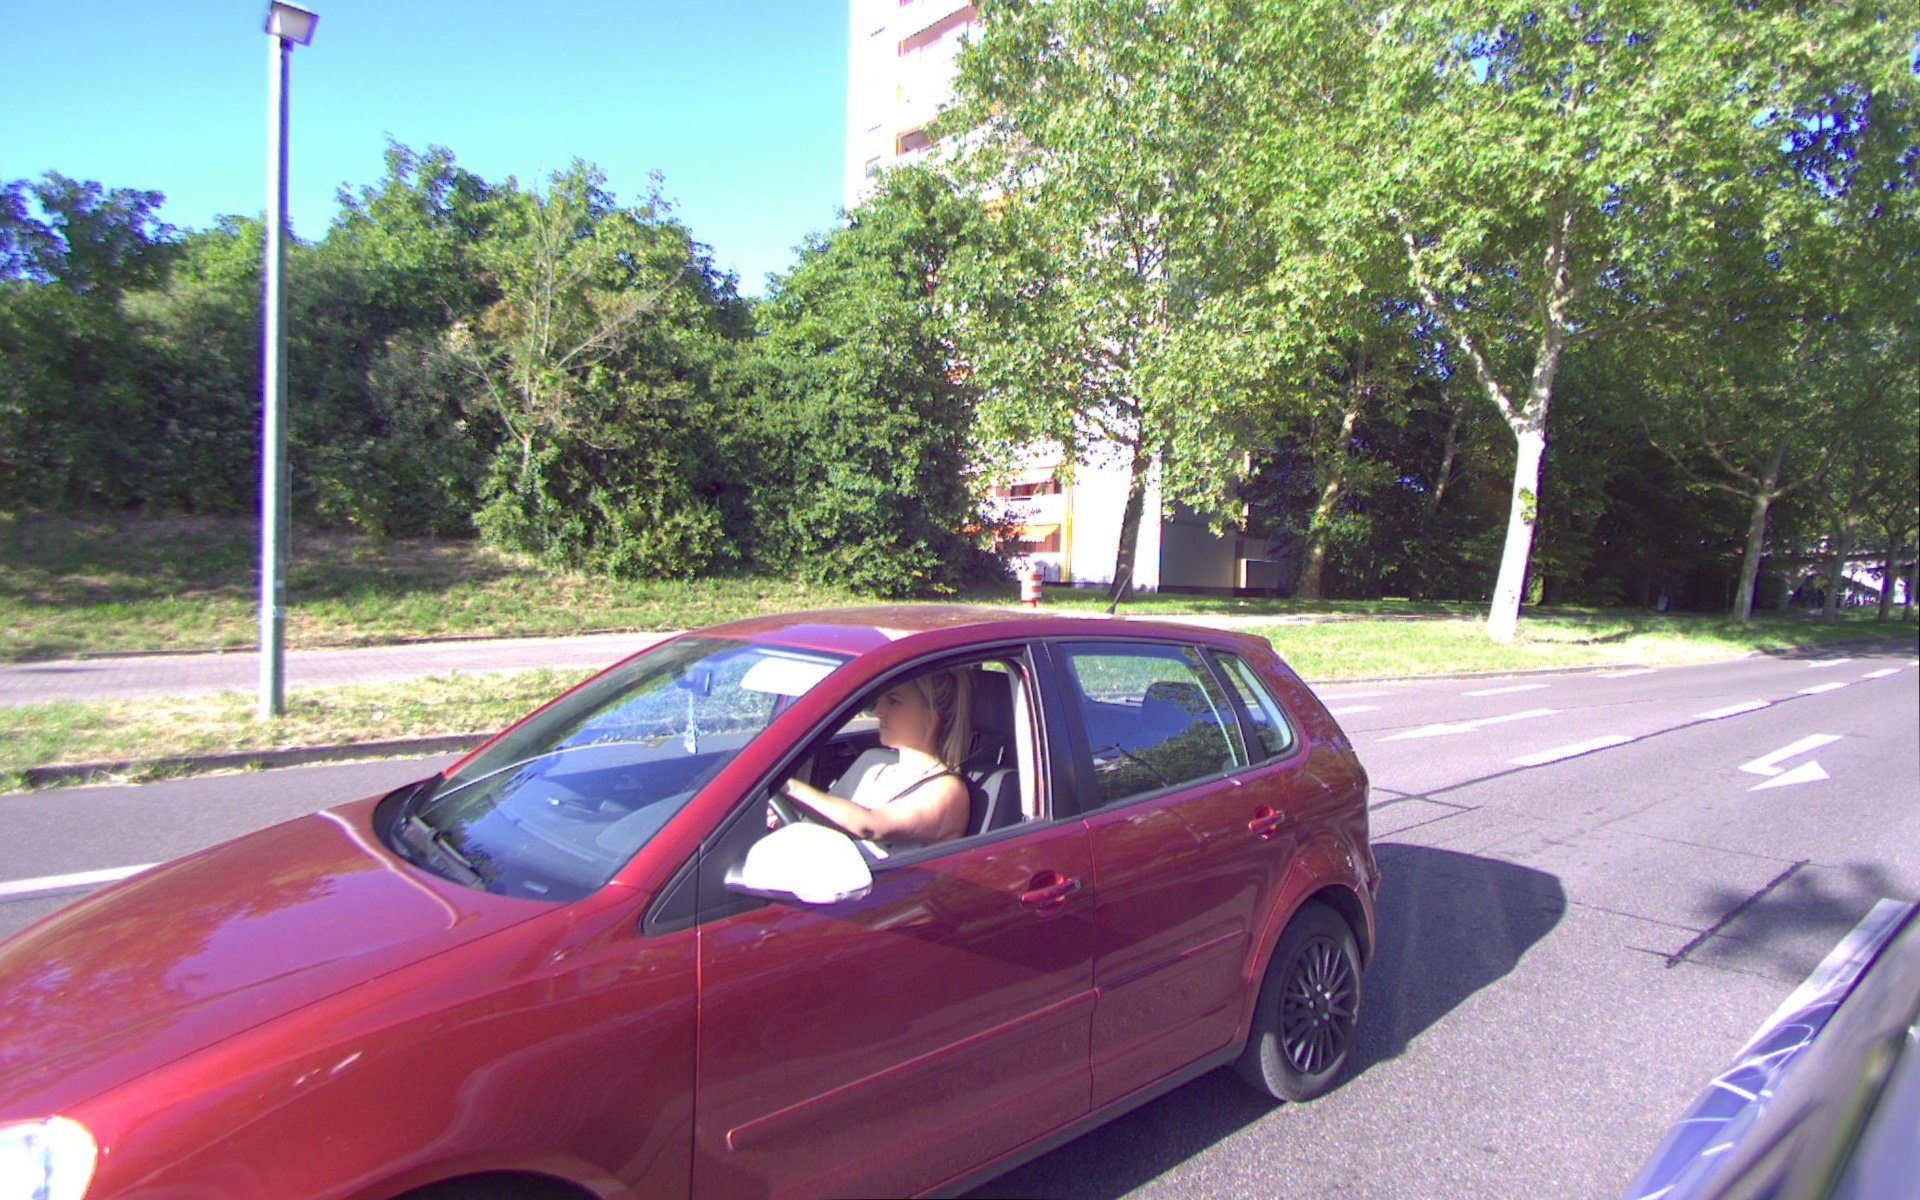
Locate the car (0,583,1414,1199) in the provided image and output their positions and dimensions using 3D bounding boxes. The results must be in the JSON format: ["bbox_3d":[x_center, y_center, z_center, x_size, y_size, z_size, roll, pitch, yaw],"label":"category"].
[{"bbox_3d":[-0.463,0.694,2.757,3.627,1.434,1.626,0,1,-39],"label":"car"}]
